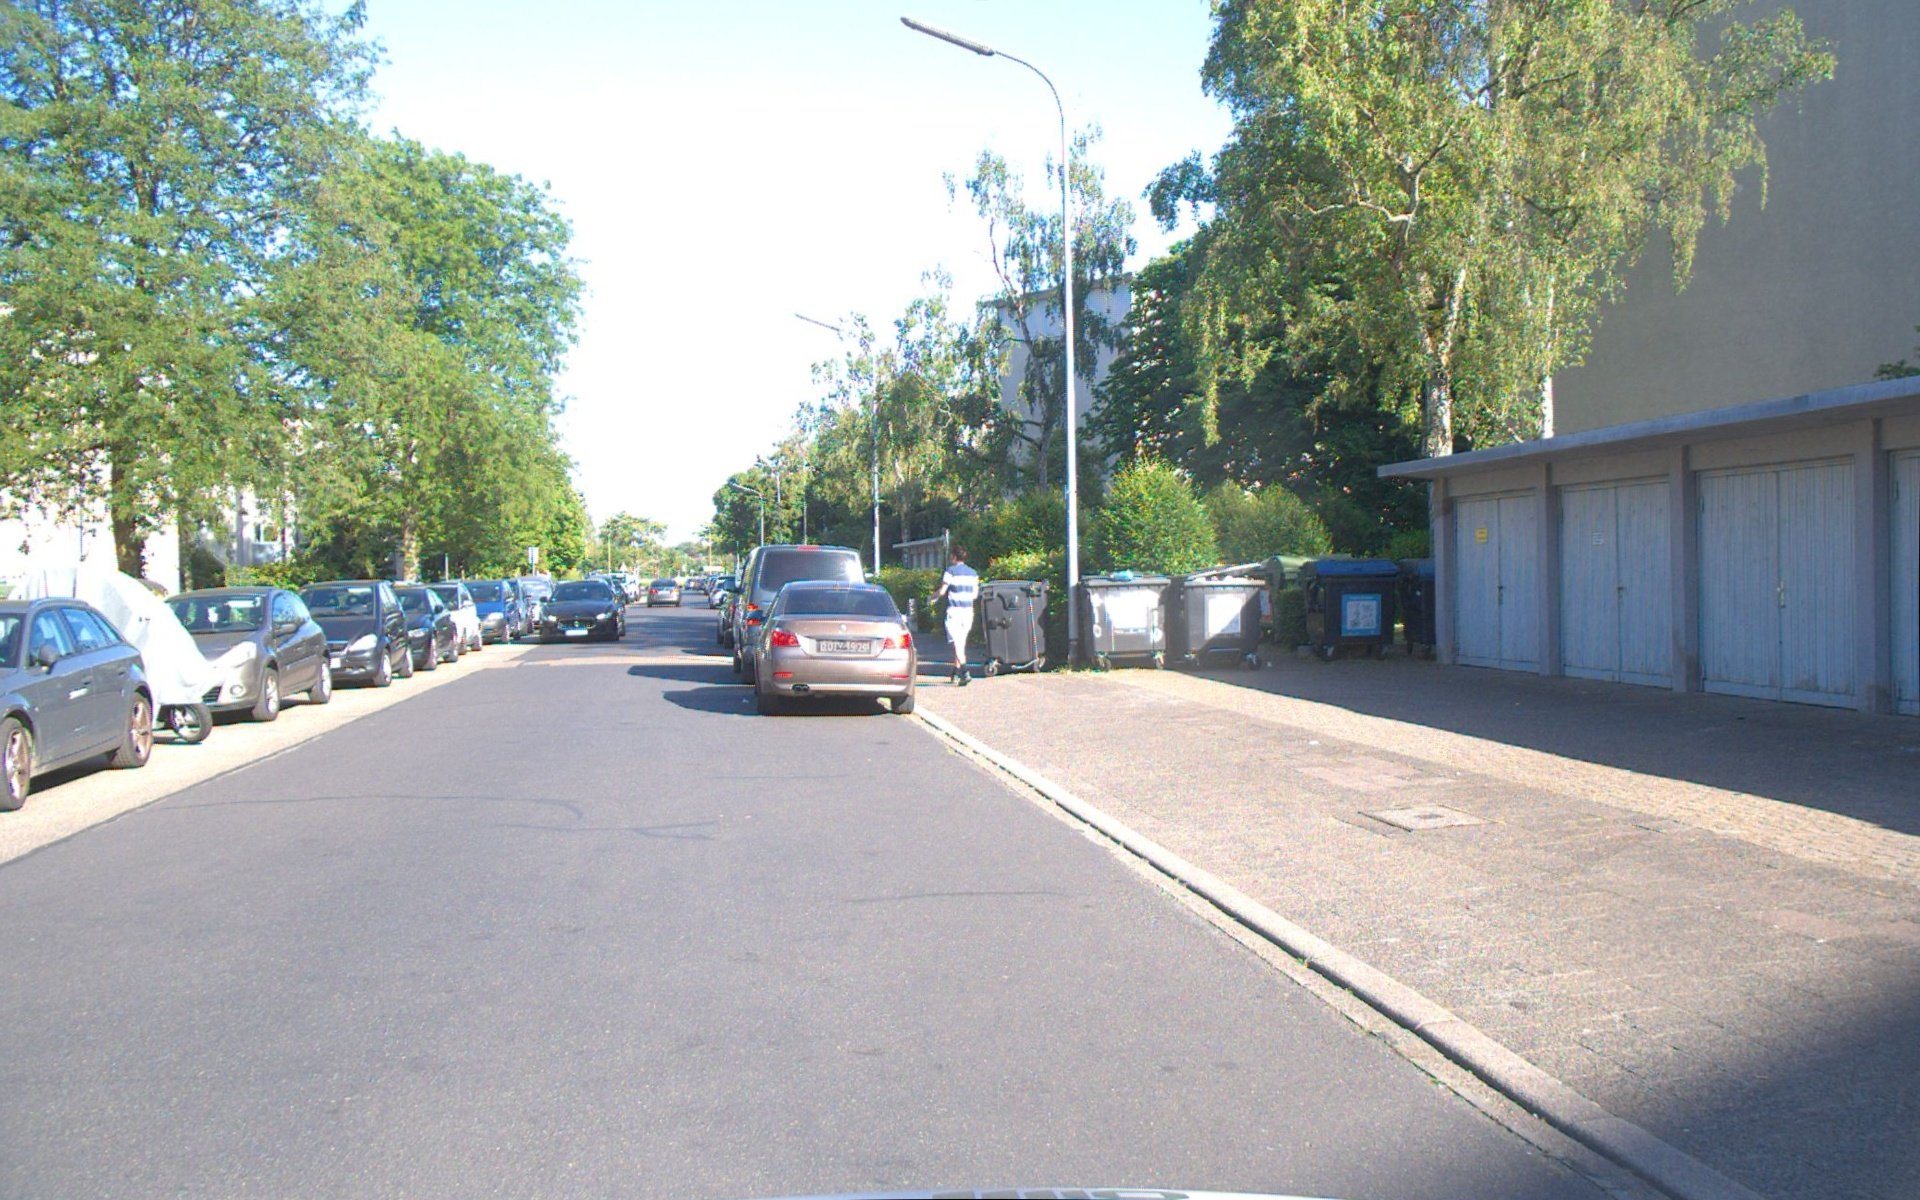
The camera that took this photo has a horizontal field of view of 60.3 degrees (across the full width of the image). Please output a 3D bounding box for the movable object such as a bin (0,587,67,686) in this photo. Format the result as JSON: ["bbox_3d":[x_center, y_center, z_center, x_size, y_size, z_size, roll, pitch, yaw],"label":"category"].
[{"bbox_3d":[-13.615,0.504,23.565,1.155,1.363,1.341,-1,1,-8],"label":"movable object such as a bin"}]

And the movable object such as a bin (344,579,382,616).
[{"bbox_3d":[-24.253,-0.114,67.212,1.155,1.445,1.460,1,1,-7],"label":"movable object such as a bin"}]

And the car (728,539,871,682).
[{"bbox_3d":[-2.538,0.120,25.217,1.819,1.968,4.694,0,1,-10],"label":"car"}]

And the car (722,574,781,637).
[{"bbox_3d":[-5.256,0.114,41.839,1.387,1.550,2.555,0,1,-6],"label":"car"}]

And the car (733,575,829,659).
[{"bbox_3d":[-3.524,0.287,32.154,1.593,1.516,4.027,0,1,-10],"label":"car"}]

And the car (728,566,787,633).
[{"bbox_3d":[-5.502,-0.029,44.808,1.461,1.748,2.577,0,1,-10],"label":"car"}]

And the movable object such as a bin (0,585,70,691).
[{"bbox_3d":[-13.385,0.512,23.210,1.156,1.432,1.340,-1,1,-9],"label":"movable object such as a bin"}]

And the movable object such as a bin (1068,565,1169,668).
[{"bbox_3d":[2.227,0.217,23.411,1.200,1.389,1.132,-1,1,-6],"label":"movable object such as a bin"}]

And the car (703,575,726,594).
[{"bbox_3d":[-21.375,-1.369,143.998,1.764,1.589,3.940,0,1,-12],"label":"car"}]

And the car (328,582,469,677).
[{"bbox_3d":[-10.234,0.475,30.459,1.723,1.506,4.526,-3,1,-10],"label":"car"}]

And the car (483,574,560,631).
[{"bbox_3d":[-13.893,0.047,52.605,1.868,1.668,4.339,-2,1,-9],"label":"car"}]

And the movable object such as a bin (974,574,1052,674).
[{"bbox_3d":[0.762,0.326,24.163,1.005,1.332,1.387,-4,1,1],"label":"movable object such as a bin"}]

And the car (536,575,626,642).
[{"bbox_3d":[-9.376,0.163,41.240,1.876,1.502,4.560,-2,1,-10],"label":"car"}]

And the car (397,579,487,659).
[{"bbox_3d":[-11.407,0.390,36.551,1.419,1.601,3.134,-3,1,-10],"label":"car"}]

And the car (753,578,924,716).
[{"bbox_3d":[-1.568,0.463,19.821,1.767,1.443,4.628,0,1,-8],"label":"car"}]

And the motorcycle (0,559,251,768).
[{"bbox_3d":[-7.968,0.572,15.451,2.217,1.756,0.929,-4,1,-13],"label":"motorcycle"}]

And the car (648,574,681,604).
[{"bbox_3d":[-15.627,-0.596,87.385,1.650,1.540,4.092,0,1,-12],"label":"car"}]

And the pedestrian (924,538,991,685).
[{"bbox_3d":[-0.045,0.151,22.530,0.690,1.921,0.871,-3,1,-8],"label":"pedestrian"}]

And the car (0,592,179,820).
[{"bbox_3d":[-7.377,0.733,12.199,1.722,1.445,4.260,-3,1,-9],"label":"car"}]

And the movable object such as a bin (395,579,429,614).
[{"bbox_3d":[-23.530,-0.156,71.071,1.113,1.445,1.358,1,1,-8],"label":"movable object such as a bin"}]

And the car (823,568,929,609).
[{"bbox_3d":[-3.627,-0.496,70.844,4.334,1.540,1.825,-2,1,-9],"label":"car"}]

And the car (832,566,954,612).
[{"bbox_3d":[-2.572,-0.425,62.716,4.429,1.540,1.825,-2,1,-9],"label":"car"}]

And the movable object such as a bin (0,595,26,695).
[{"bbox_3d":[-13.204,0.599,21.782,1.156,1.310,1.340,-1,1,-9],"label":"movable object such as a bin"}]

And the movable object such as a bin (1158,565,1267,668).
[{"bbox_3d":[3.536,0.214,23.240,1.252,1.389,1.132,-1,1,-6],"label":"movable object such as a bin"}]

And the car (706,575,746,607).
[{"bbox_3d":[-11.728,-0.485,82.607,1.722,1.540,4.092,0,1,-12],"label":"car"}]

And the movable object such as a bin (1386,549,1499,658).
[{"bbox_3d":[7.088,0.028,24.362,1.252,1.491,1.132,-1,4,-6],"label":"movable object such as a bin"}]

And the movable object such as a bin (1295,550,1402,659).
[{"bbox_3d":[5.751,0.045,24.566,1.252,1.491,1.132,-1,4,-6],"label":"movable object such as a bin"}]

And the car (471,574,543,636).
[{"bbox_3d":[-12.860,0.121,47.083,1.606,1.634,3.526,-2,1,-10],"label":"car"}]

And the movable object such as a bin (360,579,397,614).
[{"bbox_3d":[-24.688,-0.142,70.285,1.155,1.445,1.460,1,1,-7],"label":"movable object such as a bin"}]

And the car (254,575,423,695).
[{"bbox_3d":[-9.431,0.466,25.374,1.723,1.601,3.711,-3,1,-11],"label":"car"}]

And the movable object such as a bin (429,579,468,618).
[{"bbox_3d":[-18.657,-0.064,60.334,1.115,1.407,1.439,1,1,-8],"label":"movable object such as a bin"}]

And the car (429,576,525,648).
[{"bbox_3d":[-12.203,0.264,42.025,1.722,1.634,3.961,-3,1,-9],"label":"car"}]

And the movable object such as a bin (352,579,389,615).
[{"bbox_3d":[-24.511,-0.131,68.777,1.155,1.445,1.460,1,1,-7],"label":"movable object such as a bin"}]

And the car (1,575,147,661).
[{"bbox_3d":[-18.194,0.323,34.140,1.542,1.669,3.989,0,1,-11],"label":"car"}]

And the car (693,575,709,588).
[{"bbox_3d":[-31.130,-2.185,198.494,1.764,1.575,3.940,0,1,-12],"label":"car"}]

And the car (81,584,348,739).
[{"bbox_3d":[-8.612,0.627,19.478,1.721,1.506,3.952,-3,1,-8],"label":"car"}]

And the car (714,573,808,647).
[{"bbox_3d":[-4.572,0.181,37.576,1.701,1.515,4.488,-2,1,-12],"label":"car"}]

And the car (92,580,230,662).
[{"bbox_3d":[-16.176,0.381,33.662,1.542,1.552,3.989,0,1,-11],"label":"car"}]
